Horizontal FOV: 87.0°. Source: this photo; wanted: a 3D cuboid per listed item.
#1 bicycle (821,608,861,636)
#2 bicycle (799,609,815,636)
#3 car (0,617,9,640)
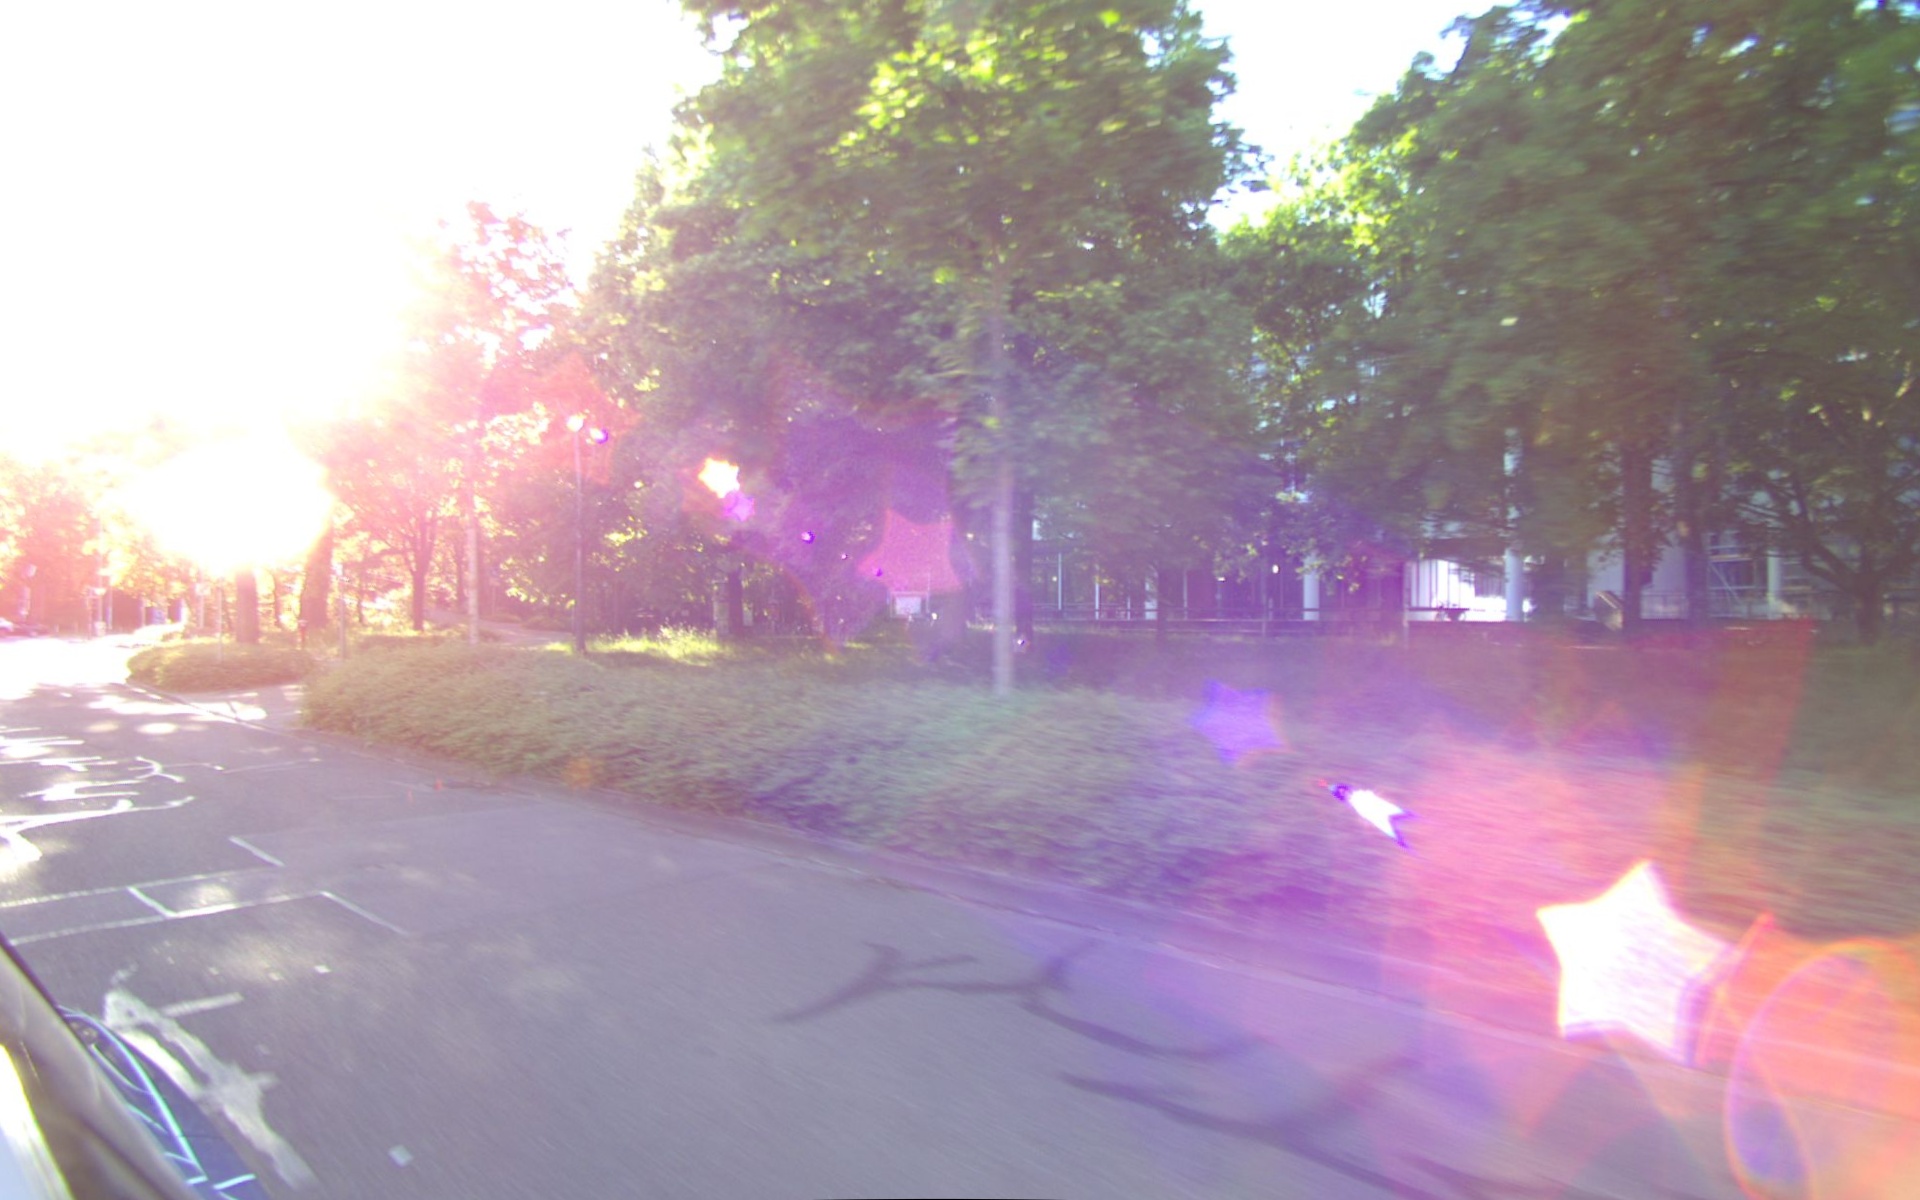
[{"bbox_3d":[-5.067,0.937,42.957,0.528,1.079,2.642,-5,1,-31],"label":"bicycle"},{"bbox_3d":[-6.508,0.959,43.089,0.528,1.079,2.435,-3,0,-10],"label":"bicycle"},{"bbox_3d":[-75.003,2.220,76.526,1.571,1.774,4.311,-1,0,40],"label":"car"}]
